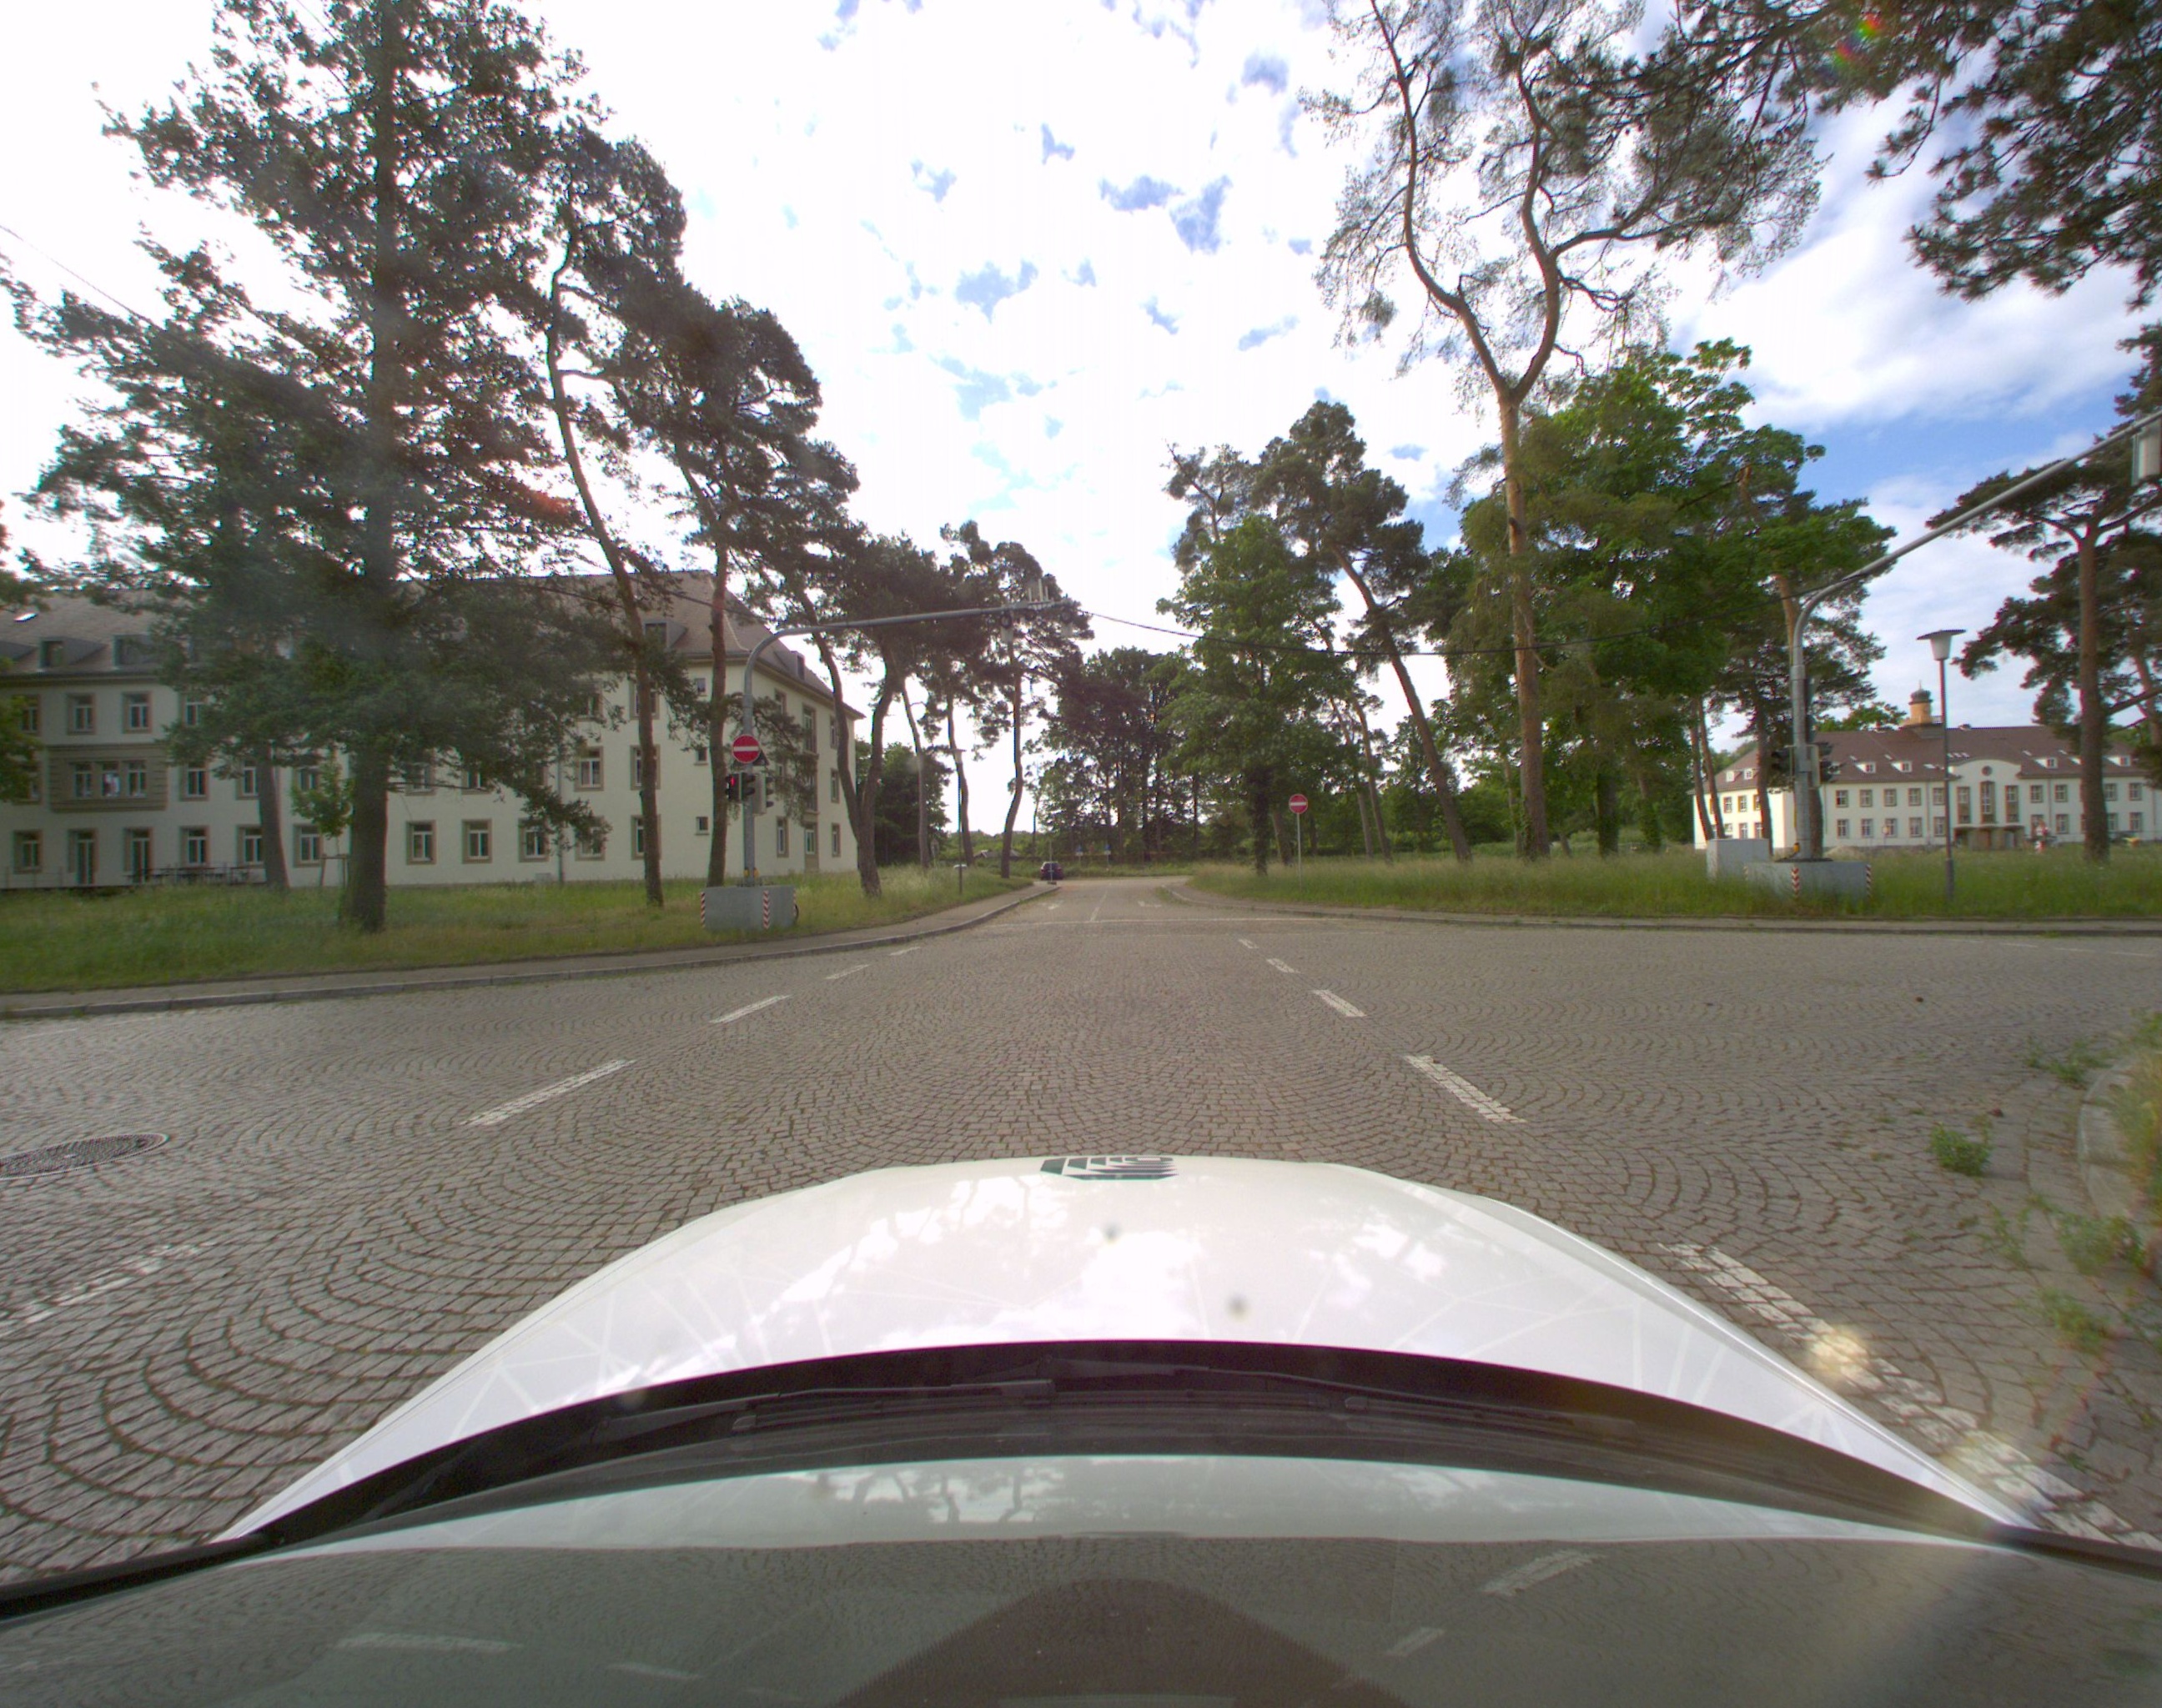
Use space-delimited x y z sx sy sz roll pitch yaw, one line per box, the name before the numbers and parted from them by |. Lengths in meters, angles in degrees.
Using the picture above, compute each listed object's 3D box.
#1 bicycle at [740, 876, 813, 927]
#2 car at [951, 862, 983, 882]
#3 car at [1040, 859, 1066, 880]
bicycle | -6.868 1.057 18.397 1.407 1.074 0.498 -1 2 -1
car | -9.619 1.489 68.948 1.702 1.610 4.066 0 0 7
car | -2.315 1.282 67.991 1.703 1.610 4.064 0 0 5
